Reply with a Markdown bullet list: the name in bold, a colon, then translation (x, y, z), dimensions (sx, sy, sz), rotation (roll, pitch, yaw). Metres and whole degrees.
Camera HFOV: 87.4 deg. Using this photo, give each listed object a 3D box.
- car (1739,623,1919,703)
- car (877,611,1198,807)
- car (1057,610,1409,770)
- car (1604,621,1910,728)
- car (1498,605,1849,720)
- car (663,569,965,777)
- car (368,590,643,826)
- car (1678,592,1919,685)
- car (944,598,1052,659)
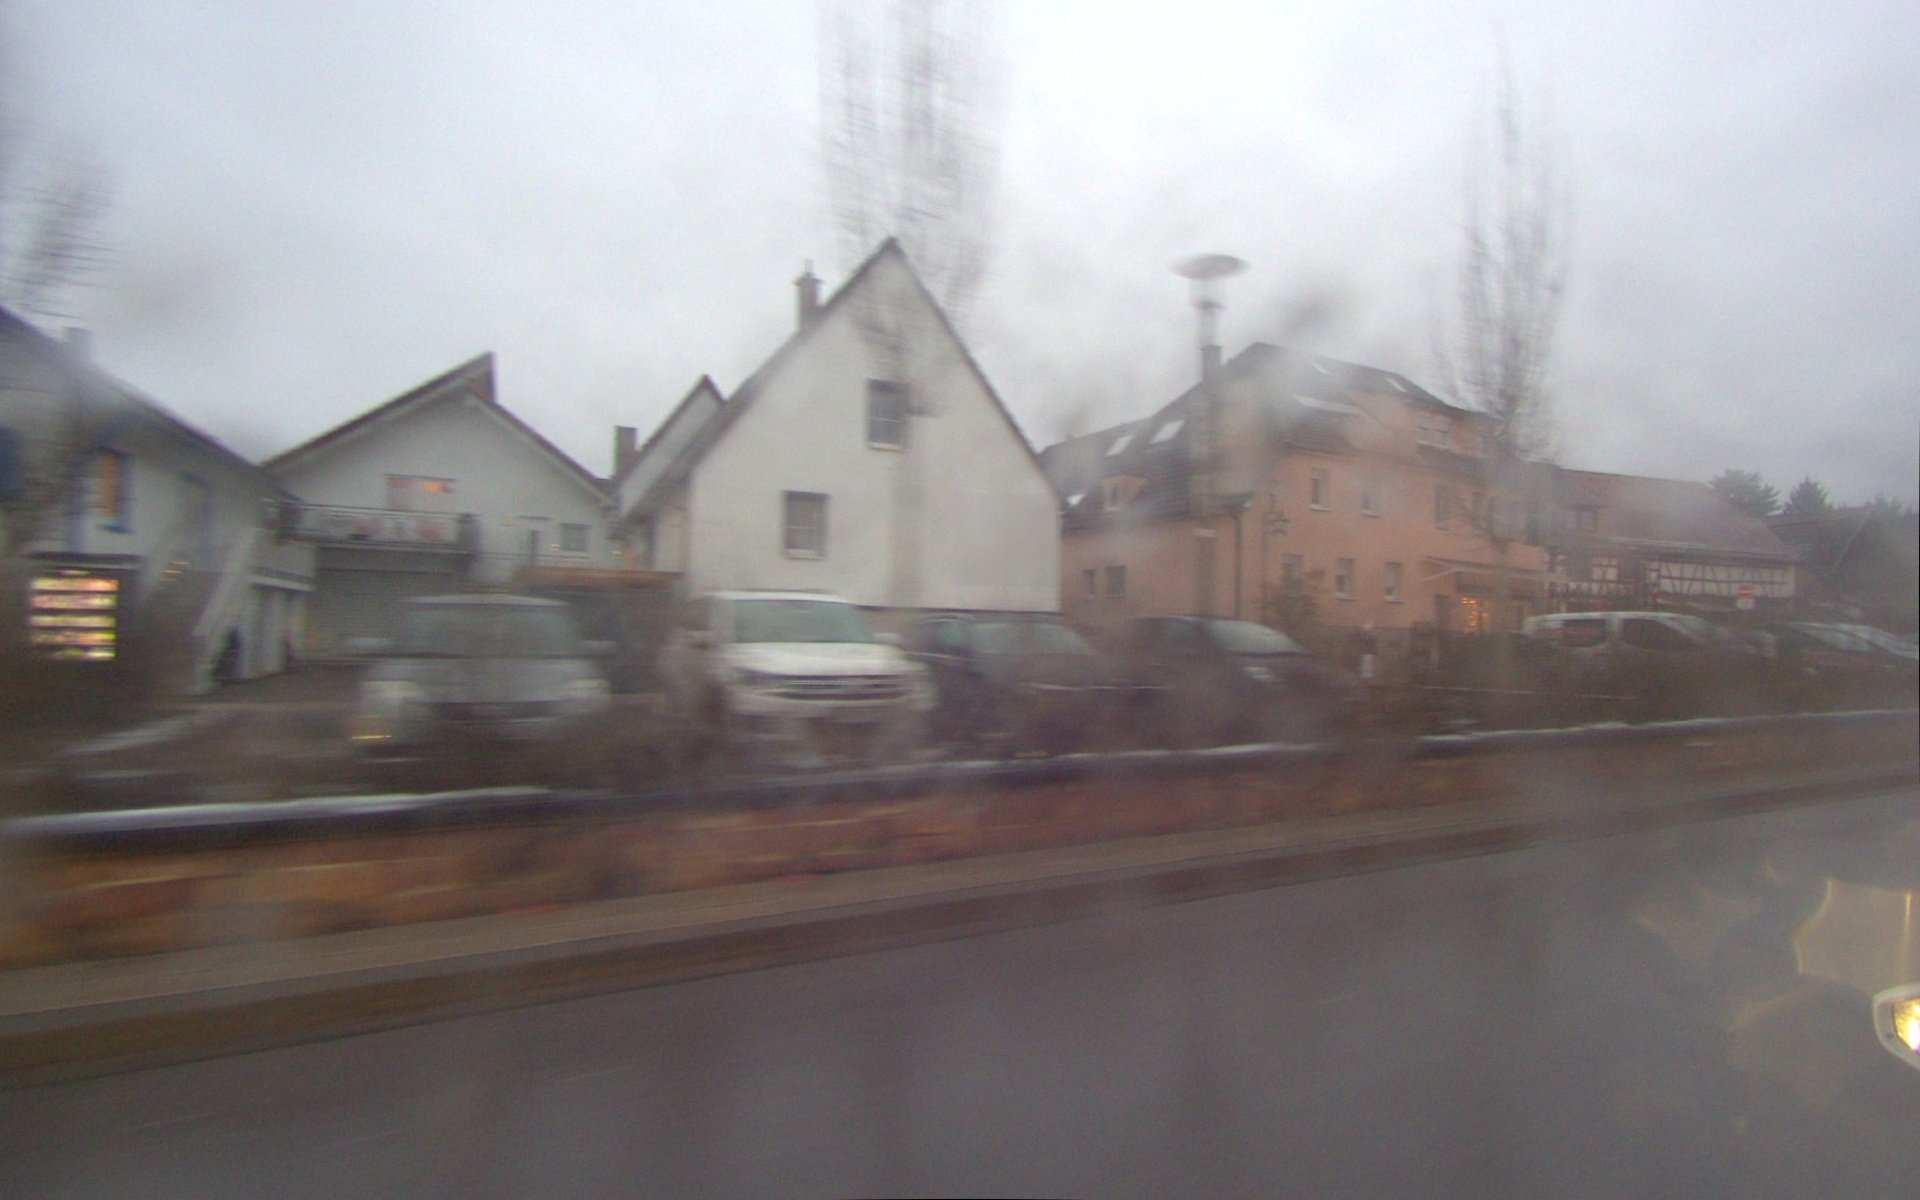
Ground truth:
- **car**: translation (19.061, 1.310, 21.370), dimensions (1.686, 1.466, 3.534), rotation (2, 0, -24)
- **car**: translation (0.588, 0.972, 10.706), dimensions (1.566, 1.629, 4.080), rotation (2, -1, -25)
- **car**: translation (3.087, 0.977, 12.294), dimensions (1.855, 1.517, 4.113), rotation (4, -1, -26)
- **car**: translation (14.678, 1.292, 18.801), dimensions (1.657, 1.674, 4.186), rotation (2, -1, -24)
- **car**: translation (12.241, 0.988, 17.586), dimensions (1.977, 1.689, 4.602), rotation (2, -1, -31)
- **car**: translation (-1.578, 0.570, 9.515), dimensions (1.693, 1.543, 3.780), rotation (2, -1, -27)
- **car**: translation (-3.670, 0.639, 7.880), dimensions (1.582, 1.391, 3.429), rotation (1, 0, -29)
- **car**: translation (17.070, 0.729, 20.102), dimensions (1.636, 1.665, 4.155), rotation (2, -1, -24)
- **car**: translation (1.130, 0.859, 30.933), dimensions (1.586, 1.680, 3.062), rotation (4, -1, -41)
